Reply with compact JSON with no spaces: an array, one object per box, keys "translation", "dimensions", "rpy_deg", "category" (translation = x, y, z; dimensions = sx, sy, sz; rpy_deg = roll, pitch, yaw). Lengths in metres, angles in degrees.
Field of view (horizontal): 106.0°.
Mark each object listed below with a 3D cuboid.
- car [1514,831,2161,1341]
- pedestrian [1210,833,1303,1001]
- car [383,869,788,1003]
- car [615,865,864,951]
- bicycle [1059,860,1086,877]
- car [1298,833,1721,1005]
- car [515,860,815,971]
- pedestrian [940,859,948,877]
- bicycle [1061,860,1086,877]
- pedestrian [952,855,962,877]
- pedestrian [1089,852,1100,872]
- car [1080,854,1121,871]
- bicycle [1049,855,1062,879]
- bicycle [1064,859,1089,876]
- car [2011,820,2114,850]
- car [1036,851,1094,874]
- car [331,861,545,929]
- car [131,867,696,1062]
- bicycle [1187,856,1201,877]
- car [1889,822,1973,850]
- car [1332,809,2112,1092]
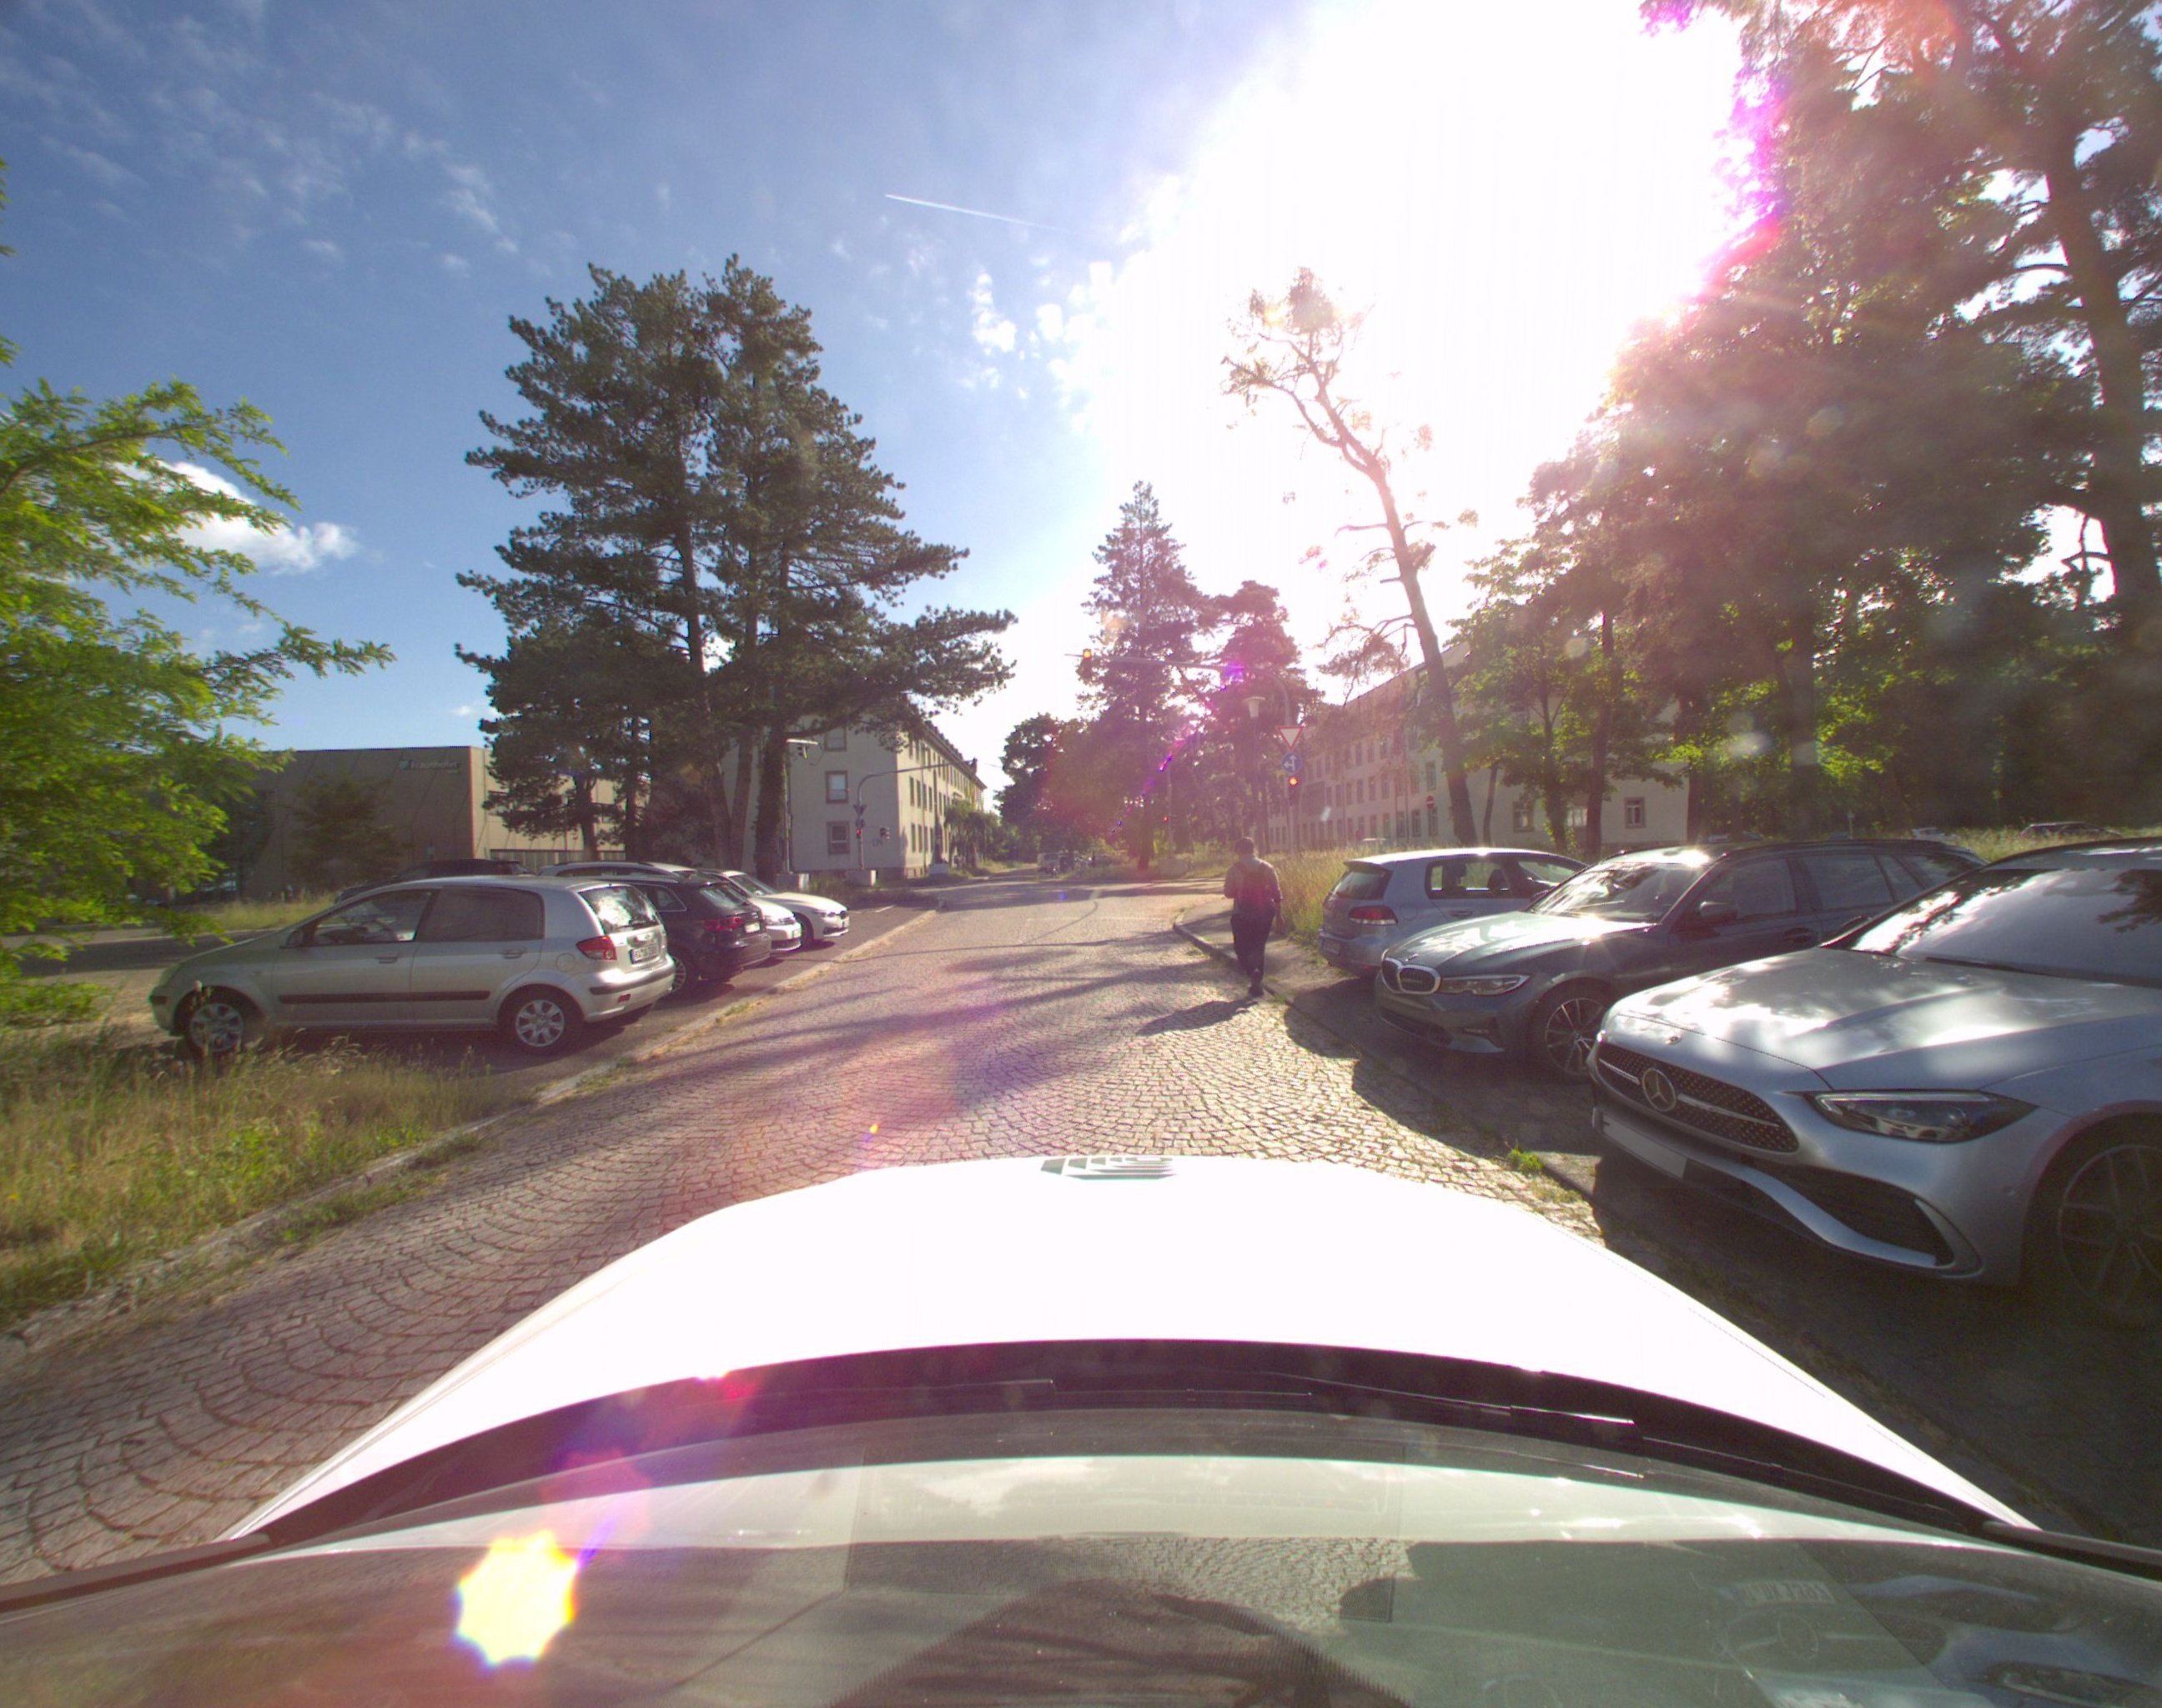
[{"translation":[4.528,0.652,3.501],"dimensions":[4.390,1.388,1.787],"rpy_deg":[-3,0,-4],"category":"car"},{"translation":[1.902,0.657,8.926],"dimensions":[0.751,1.725,0.828],"rpy_deg":[3,-1,-2],"category":"pedestrian"},{"translation":[-5.944,0.964,10.171],"dimensions":[3.929,1.445,1.689],"rpy_deg":[1,0,-4],"category":"car"},{"translation":[-6.393,0.985,15.537],"dimensions":[3.971,1.496,1.774],"rpy_deg":[0,0,2],"category":"car"},{"translation":[-0.613,1.021,57.534],"dimensions":[1.831,1.112,0.494],"rpy_deg":[-2,0,-6],"category":"bicycle"},{"translation":[4.435,0.628,8.803],"dimensions":[3.664,1.443,1.664],"rpy_deg":[-4,0,-3],"category":"car"},{"translation":[-6.424,0.918,12.921],"dimensions":[3.871,1.615,1.658],"rpy_deg":[0,0,-4],"category":"car"},{"translation":[-11.974,1.185,71.076],"dimensions":[0.606,1.560,0.543],"rpy_deg":[-2,0,-9],"category":"pedestrian"},{"translation":[-0.562,1.021,58.081],"dimensions":[1.725,1.112,0.483],"rpy_deg":[-2,0,-6],"category":"bicycle"},{"translation":[-10.237,1.007,67.093],"dimensions":[0.610,1.752,0.625],"rpy_deg":[-2,0,-26],"category":"pedestrian"},{"translation":[1.223,0.683,73.897],"dimensions":[0.759,1.783,0.682],"rpy_deg":[-2,0,-10],"category":"pedestrian"},{"translation":[1.861,0.821,79.396],"dimensions":[3.743,1.580,1.736],"rpy_deg":[-2,0,-10],"category":"car"},{"translation":[-1.706,0.850,54.269],"dimensions":[0.751,1.580,2.534],"rpy_deg":[-2,0,-2],"category":"bicycle"},{"translation":[-0.350,0.979,58.772],"dimensions":[1.725,1.164,0.560],"rpy_deg":[-2,0,-6],"category":"bicycle"},{"translation":[55.185,-1.067,45.829],"dimensions":[3.624,1.497,1.767],"rpy_deg":[-2,0,0],"category":"car"},{"translation":[-1.507,0.809,75.390],"dimensions":[5.070,1.918,1.992],"rpy_deg":[-2,0,-12],"category":"car"},{"translation":[-17.475,1.079,22.308],"dimensions":[4.132,1.608,2.009],"rpy_deg":[-2,0,-2],"category":"car"},{"translation":[-5.807,0.909,7.515],"dimensions":[3.679,1.527,1.696],"rpy_deg":[0,0,-5],"category":"car"},{"translation":[6.352,0.676,45.938],"dimensions":[0.717,1.115,2.589],"rpy_deg":[-2,0,8],"category":"bicycle"},{"translation":[55.685,-1.146,53.380],"dimensions":[3.624,1.671,1.767],"rpy_deg":[-2,0,0],"category":"car"},{"translation":[4.552,0.593,6.231],"dimensions":[4.612,1.455,1.867],"rpy_deg":[-4,0,-5],"category":"car"}]
